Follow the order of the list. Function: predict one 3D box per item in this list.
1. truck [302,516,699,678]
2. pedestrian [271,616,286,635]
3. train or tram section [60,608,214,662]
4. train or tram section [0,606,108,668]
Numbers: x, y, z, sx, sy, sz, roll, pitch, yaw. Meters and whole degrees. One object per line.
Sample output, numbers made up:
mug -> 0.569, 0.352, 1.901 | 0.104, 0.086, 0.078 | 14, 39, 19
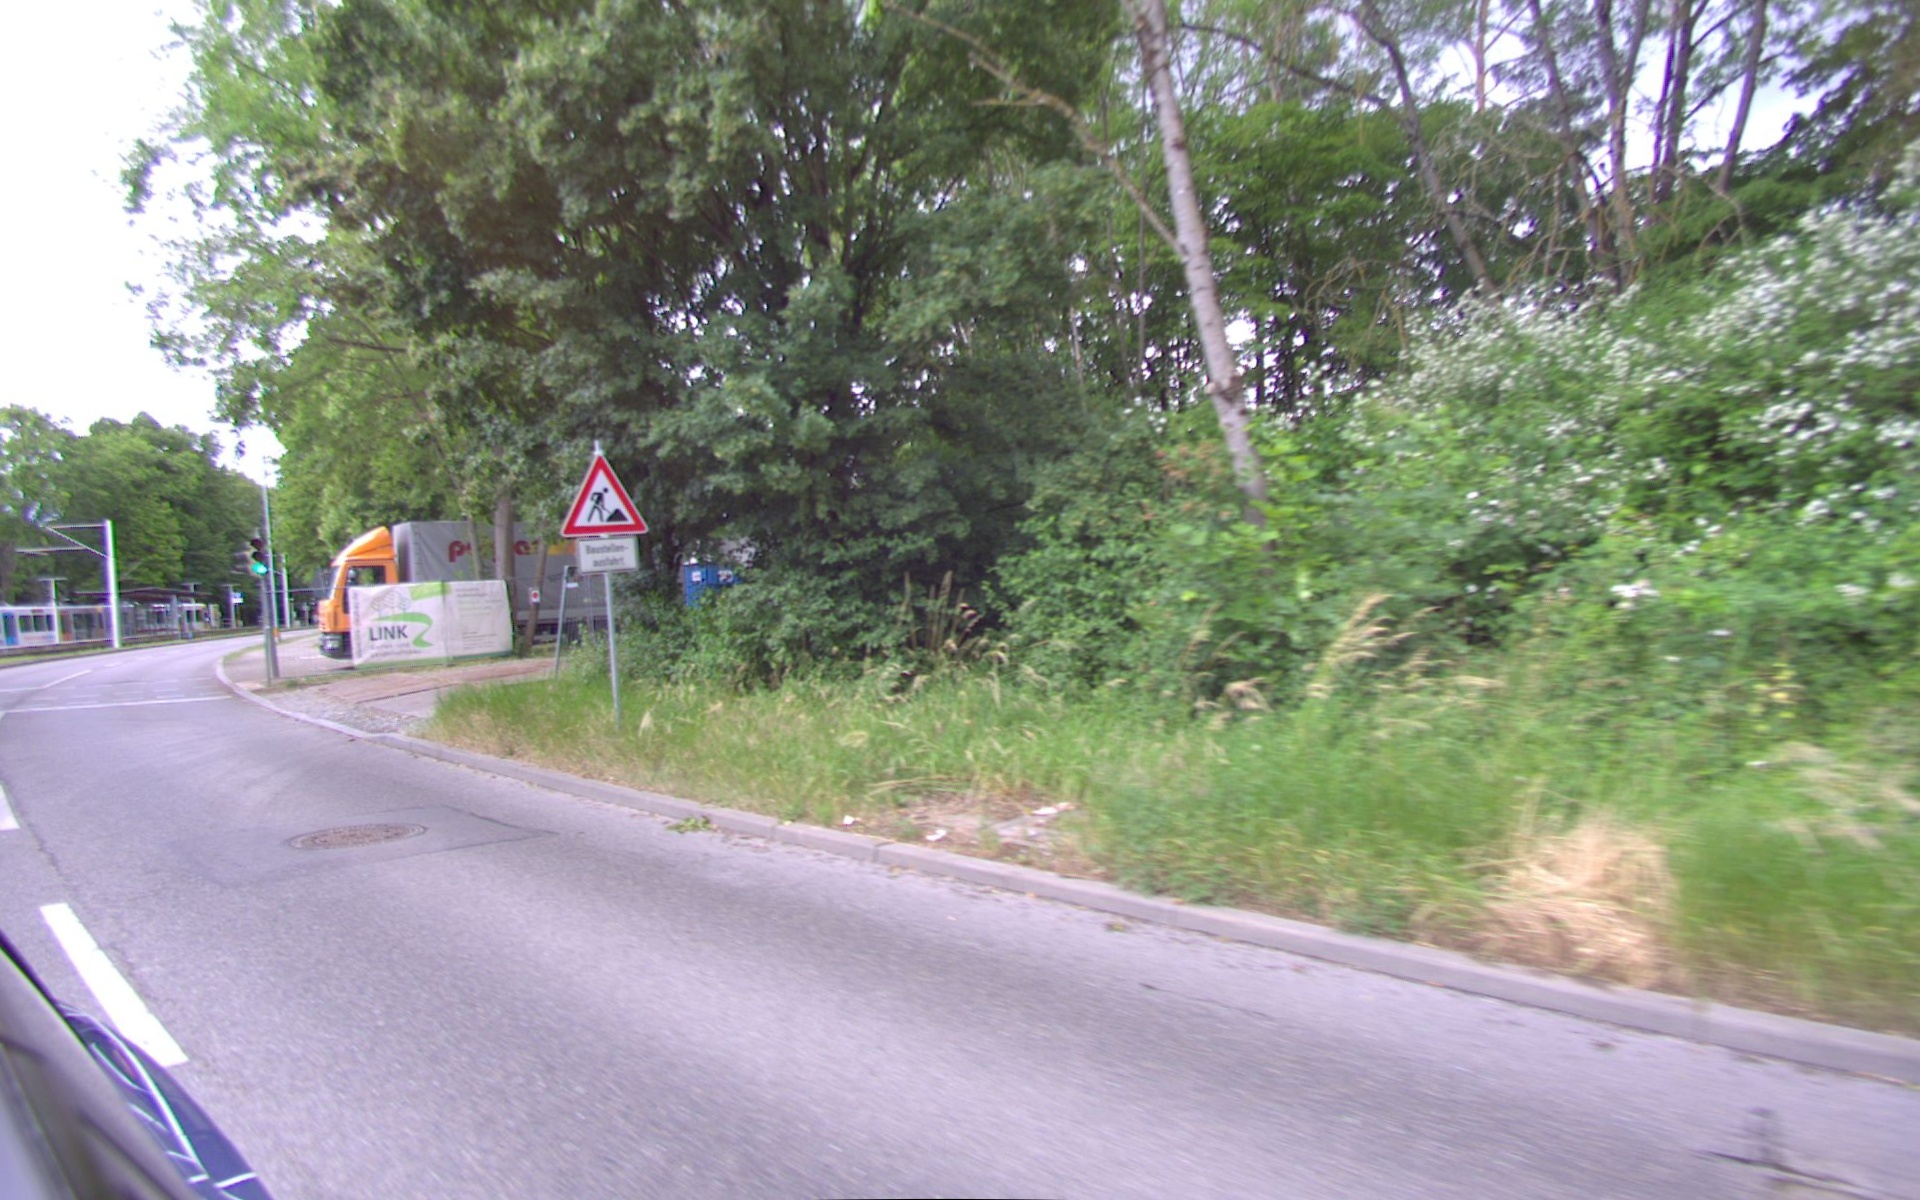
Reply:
truck -> -11.887, -0.281, 26.990 | 9.115, 3.557, 2.570 | -5, 2, -38
pedestrian -> -67.999, 2.545, 100.991 | 0.970, 1.771, 0.732 | -5, 0, -26
train or tram section -> -68.255, 2.691, 84.787 | 2.775, 3.764, 18.587 | -5, 1, -16
train or tram section -> -62.443, 2.449, 66.740 | 2.775, 3.826, 18.993 | -5, 1, -19
